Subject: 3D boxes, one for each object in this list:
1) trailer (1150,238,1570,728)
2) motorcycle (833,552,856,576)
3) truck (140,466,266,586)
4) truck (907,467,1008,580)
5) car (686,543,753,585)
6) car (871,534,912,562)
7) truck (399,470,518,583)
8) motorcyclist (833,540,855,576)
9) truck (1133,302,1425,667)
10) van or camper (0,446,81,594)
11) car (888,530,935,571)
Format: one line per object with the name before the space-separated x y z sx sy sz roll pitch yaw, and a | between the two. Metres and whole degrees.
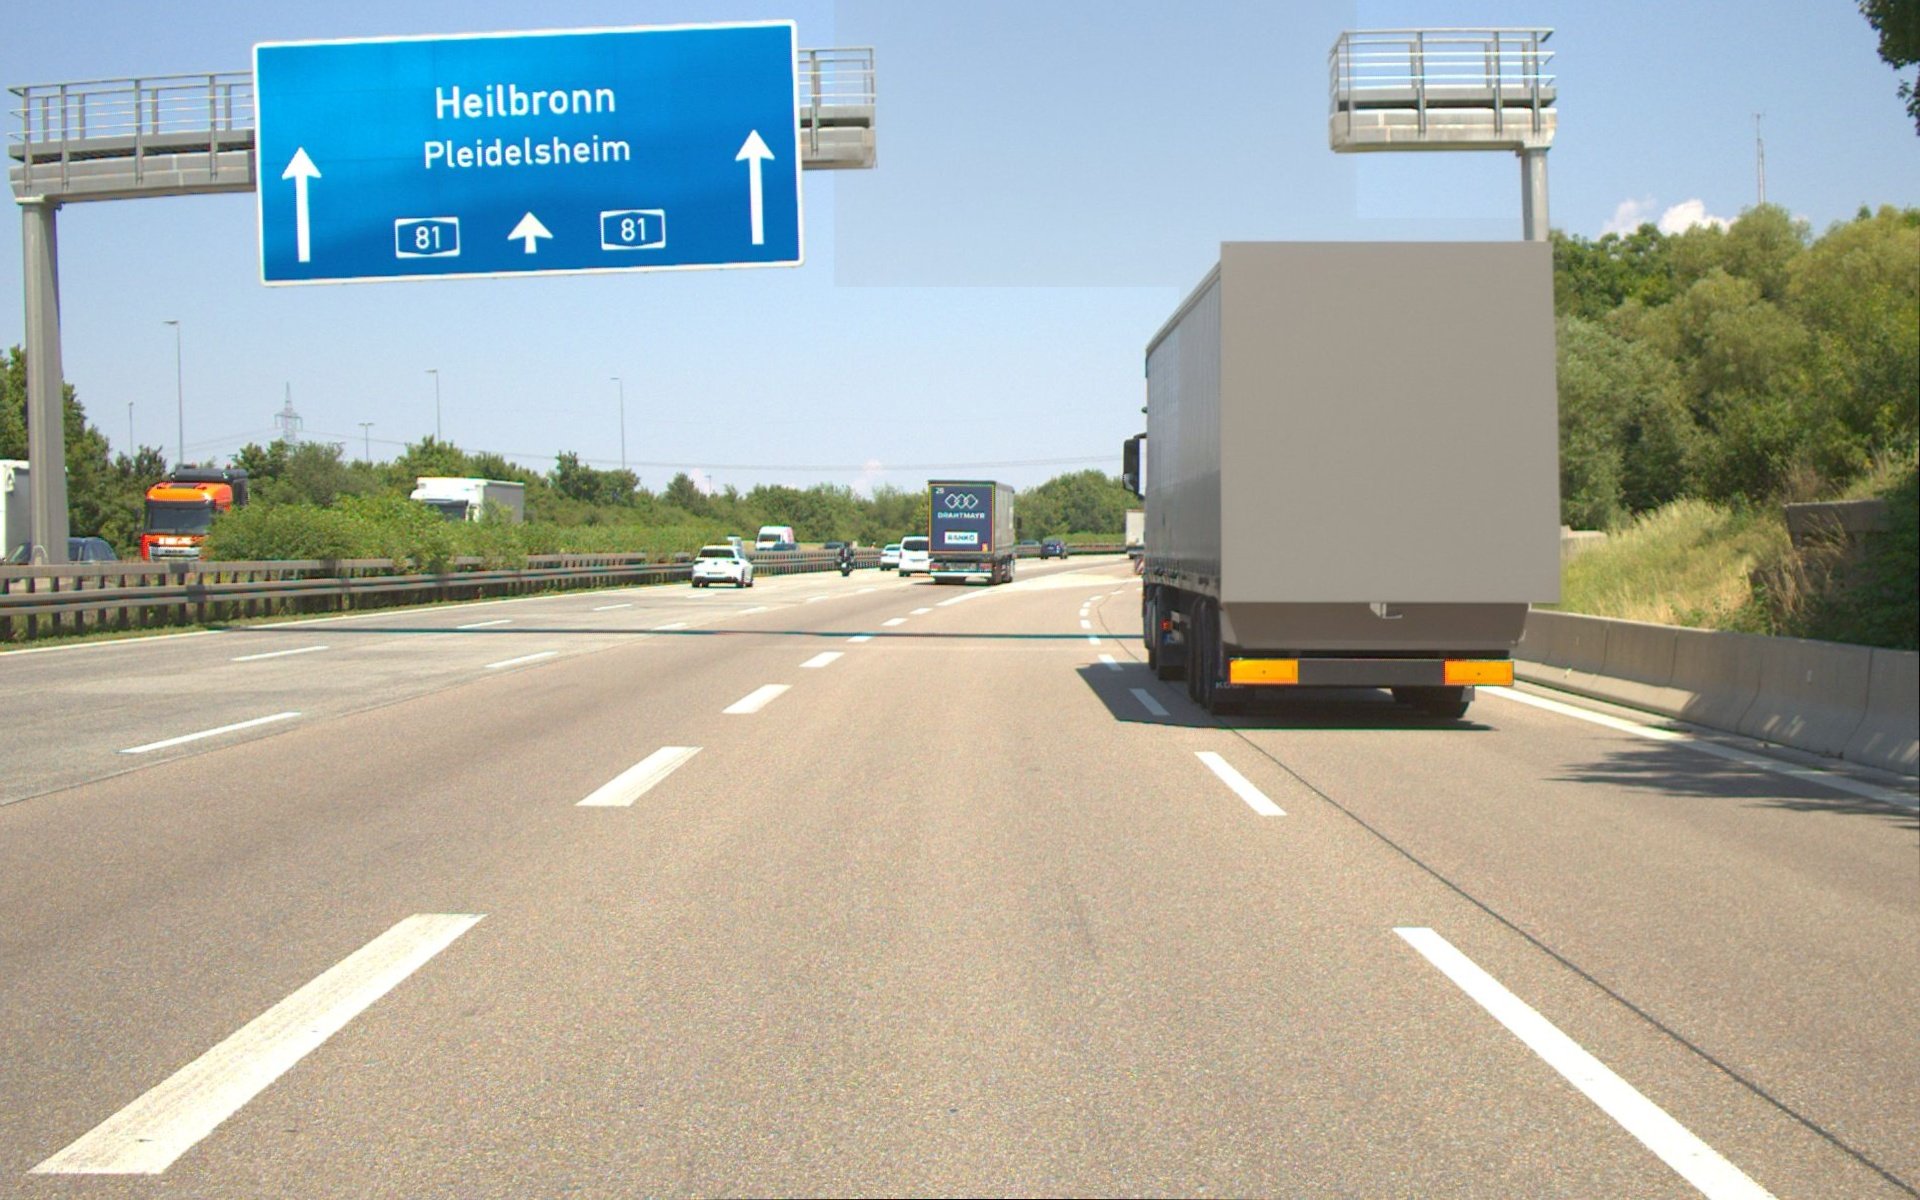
trailer | 3.625 -1.164 34.285 2.928 4.001 12.039 -1 2 1
motorcycle | -5.309 -1.668 157.926 0.913 1.085 2.850 0 1 1
truck | -24.471 -2.392 111.332 2.753 3.780 5.102 1 1 2
truck | 0.022 -3.043 138.515 3.747 4.255 14.495 0 1 1
car | -8.294 -1.248 118.923 1.782 1.435 4.668 0 0 3
car | -3.706 -2.812 187.654 1.876 1.436 5.125 0 0 3
truck | -19.516 -2.853 134.459 2.753 4.193 10.402 1 1 2
motorcyclist | -5.321 -1.936 157.878 0.893 1.591 1.299 0 2 1
truck | 3.719 -1.402 41.834 2.928 4.001 7.584 -1 2 1
van or camper | -22.000 -1.795 77.131 2.474 3.209 7.823 1 1 1
car | -2.266 -2.363 162.401 1.930 1.845 4.692 -1 2 2
